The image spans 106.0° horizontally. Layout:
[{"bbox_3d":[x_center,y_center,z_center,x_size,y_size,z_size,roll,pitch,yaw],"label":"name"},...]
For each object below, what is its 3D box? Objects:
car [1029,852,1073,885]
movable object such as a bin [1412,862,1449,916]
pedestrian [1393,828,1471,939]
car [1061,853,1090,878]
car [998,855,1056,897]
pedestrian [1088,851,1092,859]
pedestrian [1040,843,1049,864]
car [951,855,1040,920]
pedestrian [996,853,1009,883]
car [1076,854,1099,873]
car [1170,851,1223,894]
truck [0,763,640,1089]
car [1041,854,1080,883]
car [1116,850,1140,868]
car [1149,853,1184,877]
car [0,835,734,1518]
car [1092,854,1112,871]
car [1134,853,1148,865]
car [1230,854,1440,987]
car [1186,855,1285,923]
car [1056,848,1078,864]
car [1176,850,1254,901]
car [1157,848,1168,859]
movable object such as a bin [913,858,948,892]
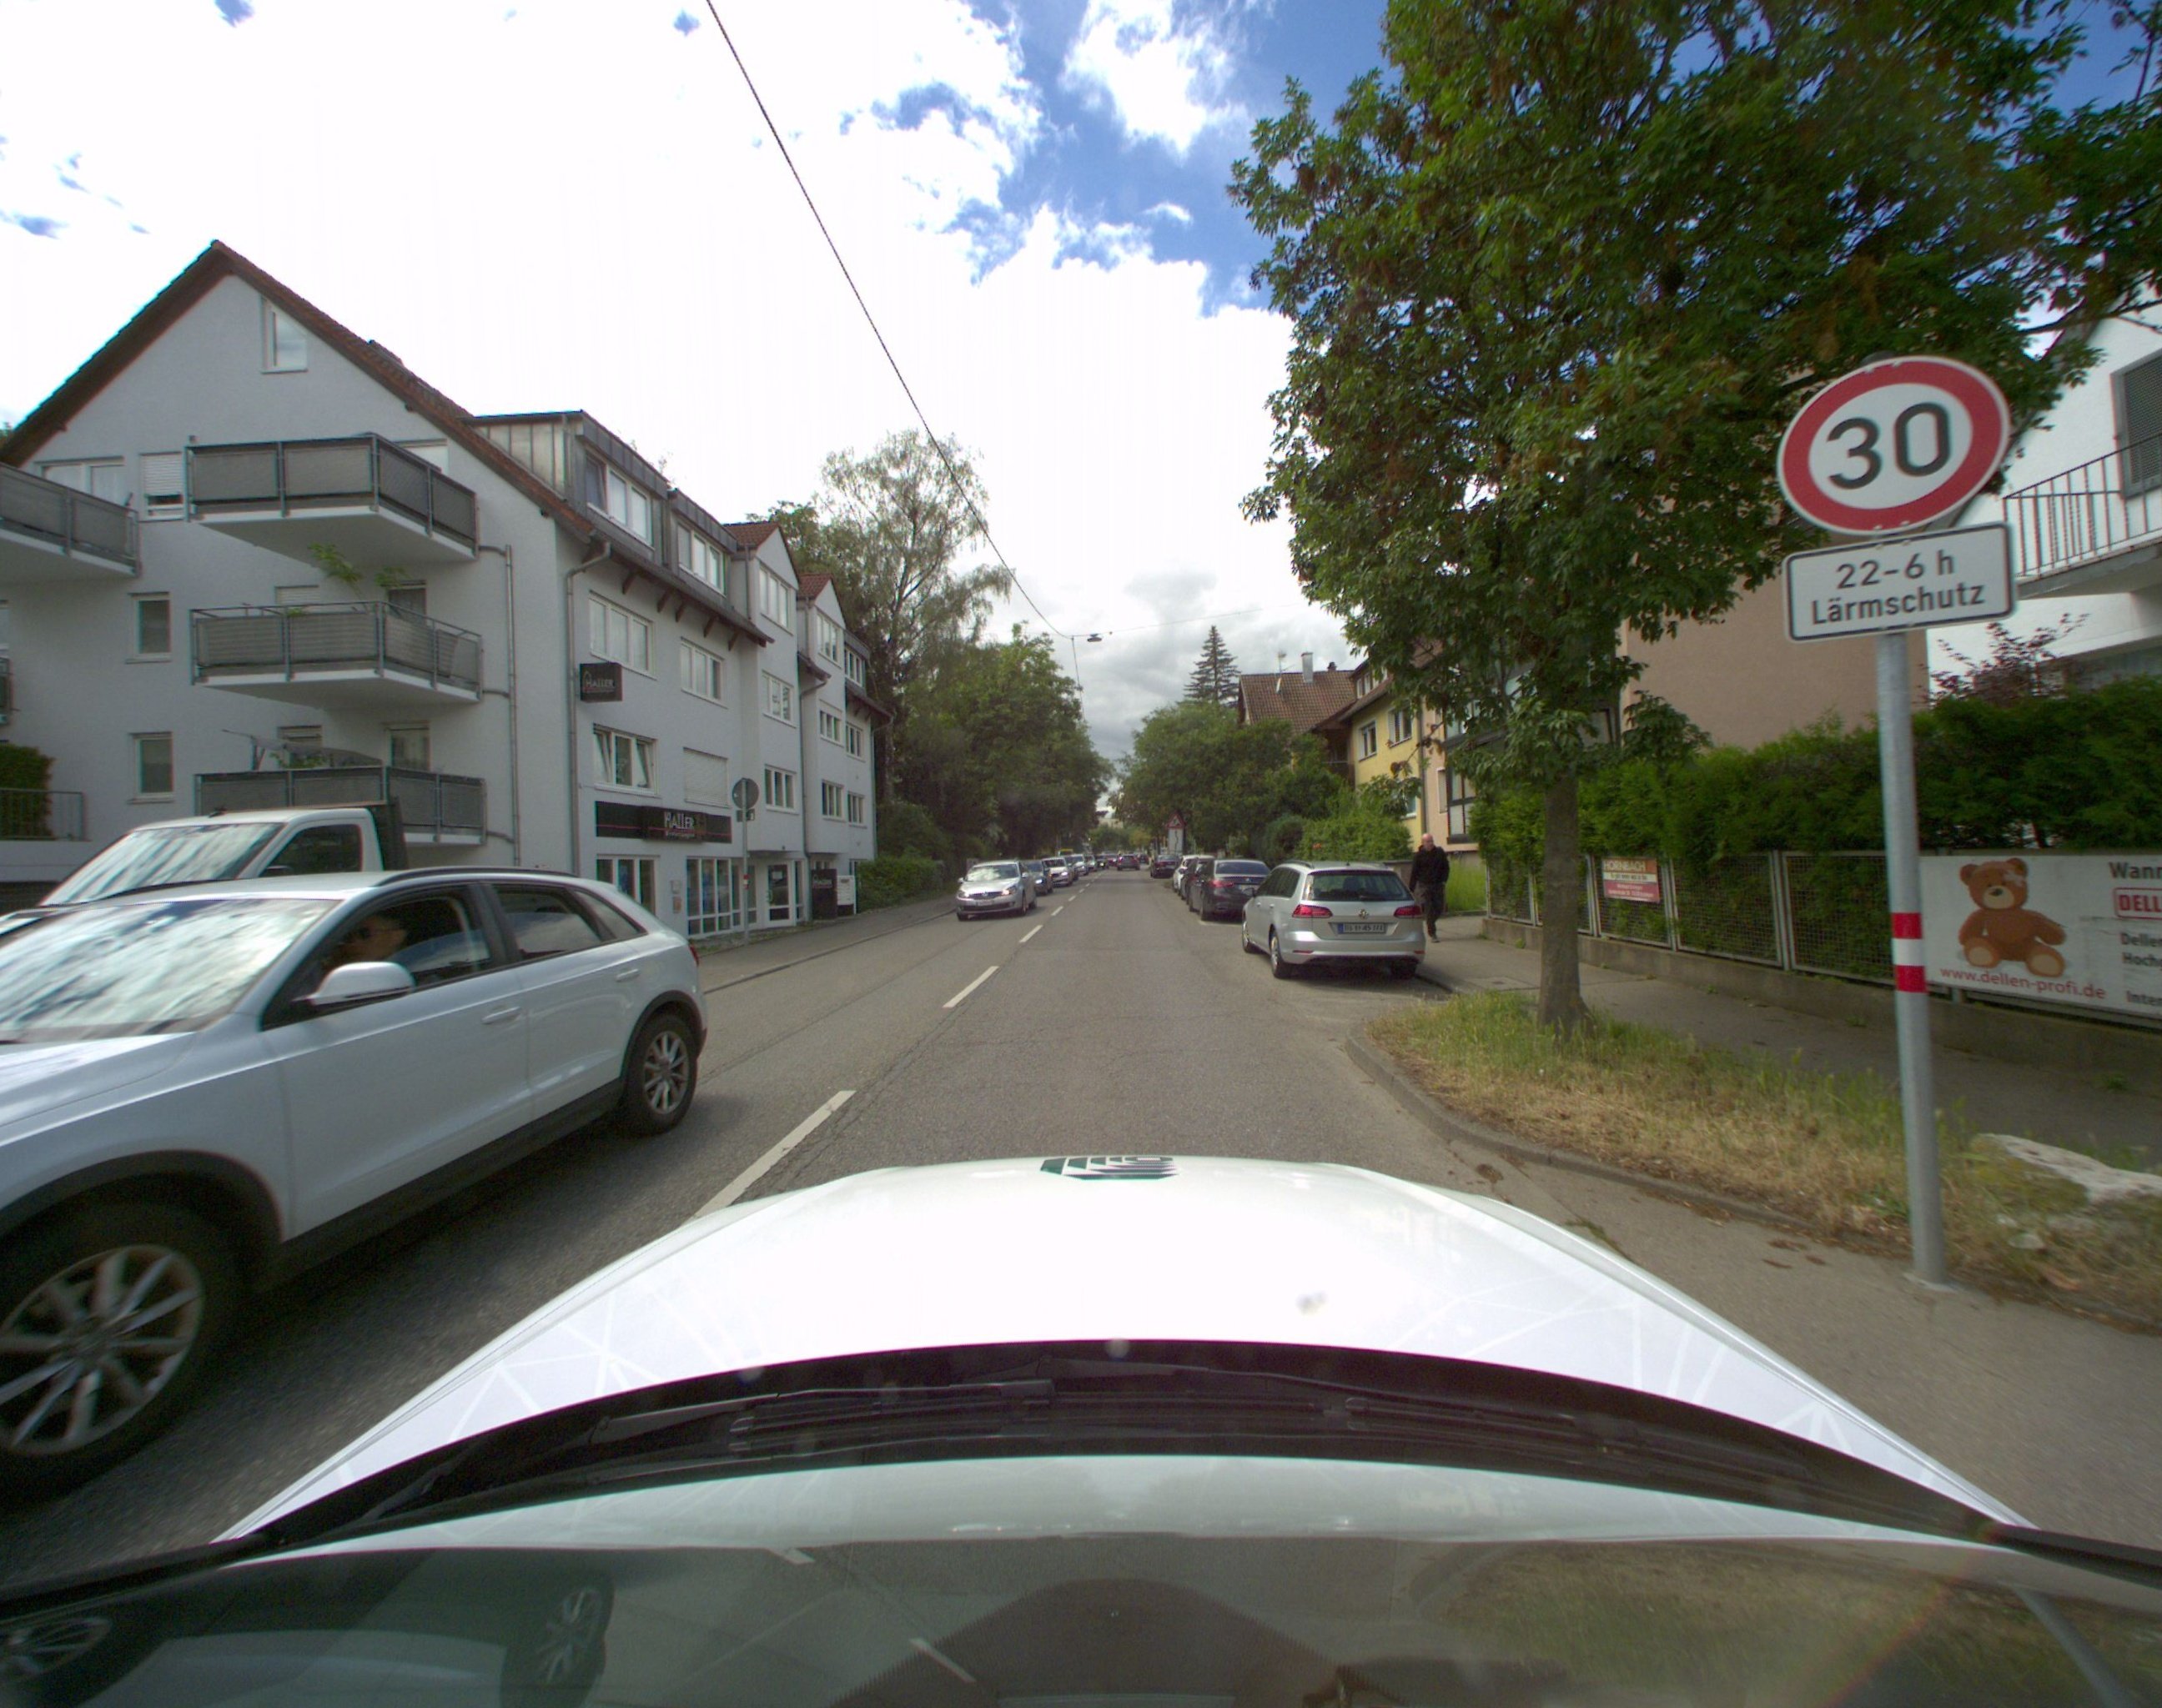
[{"bbox_3d":[-1.438,0.691,40.612,1.753,1.439,3.973,-4,0,3],"label":"car"},{"bbox_3d":[7.145,0.714,16.655,0.520,1.080,0.605,-2,-1,8],"label":"movable object such as a bin"},{"bbox_3d":[5.629,0.462,13.117,0.876,1.712,0.843,-1,-1,4],"label":"pedestrian"},{"bbox_3d":[-0.365,0.814,60.672,1.778,1.648,4.494,-4,0,3],"label":"car"},{"bbox_3d":[-2.114,0.853,33.115,1.702,1.455,4.291,-5,-1,3],"label":"car"},{"bbox_3d":[1.805,0.201,158.392,0.701,1.439,0.715,-1,-1,7],"label":"pedestrian"},{"bbox_3d":[-3.145,-0.026,69.763,0.712,1.762,1.121,-1,-1,-2],"label":"pedestrian"},{"bbox_3d":[-2.242,0.832,22.355,1.722,1.502,4.378,-4,0,2],"label":"car"},{"bbox_3d":[-4.381,0.797,45.488,0.651,1.667,0.931,-1,-1,-2],"label":"pedestrian"},{"bbox_3d":[0.581,0.827,73.463,1.777,1.592,4.157,-3,0,3],"label":"car"},{"bbox_3d":[4.377,0.654,31.298,1.615,1.507,3.782,-2,0,3],"label":"car"},{"bbox_3d":[-8.067,0.592,9.197,2.213,2.380,6.335,-1,-1,6],"label":"truck"},{"bbox_3d":[-1.187,0.829,49.157,1.920,1.546,4.089,-5,0,3],"label":"car"},{"bbox_3d":[4.277,0.468,73.482,1.966,1.513,4.273,2,0,5],"label":"car"},{"bbox_3d":[5.241,0.642,50.246,1.794,1.445,4.889,0,0,2],"label":"car"},{"bbox_3d":[-3.349,0.802,3.354,1.798,1.571,4.162,-4,-1,3],"label":"car"},{"bbox_3d":[2.194,0.856,83.590,1.781,1.542,4.269,-3,0,5],"label":"car"},{"bbox_3d":[7.977,0.654,107.698,1.807,1.501,4.272,0,0,5],"label":"car"},{"bbox_3d":[3.291,0.750,11.560,1.694,1.480,4.876,0,0,3],"label":"car"},{"bbox_3d":[3.650,0.755,20.002,1.727,1.428,4.886,1,0,3],"label":"car"},{"bbox_3d":[-1.783,0.231,105.303,2.135,1.981,4.938,-1,-1,5],"label":"car"},{"bbox_3d":[4.153,0.629,25.899,1.984,1.423,4.593,-2,0,4],"label":"car"},{"bbox_3d":[15.028,-0.117,149.826,1.984,2.014,4.005,-1,-1,5],"label":"car"},{"bbox_3d":[-6.512,0.913,35.324,1.327,1.427,1.212,-1,-1,-4],"label":"movable object such as a bin"}]
